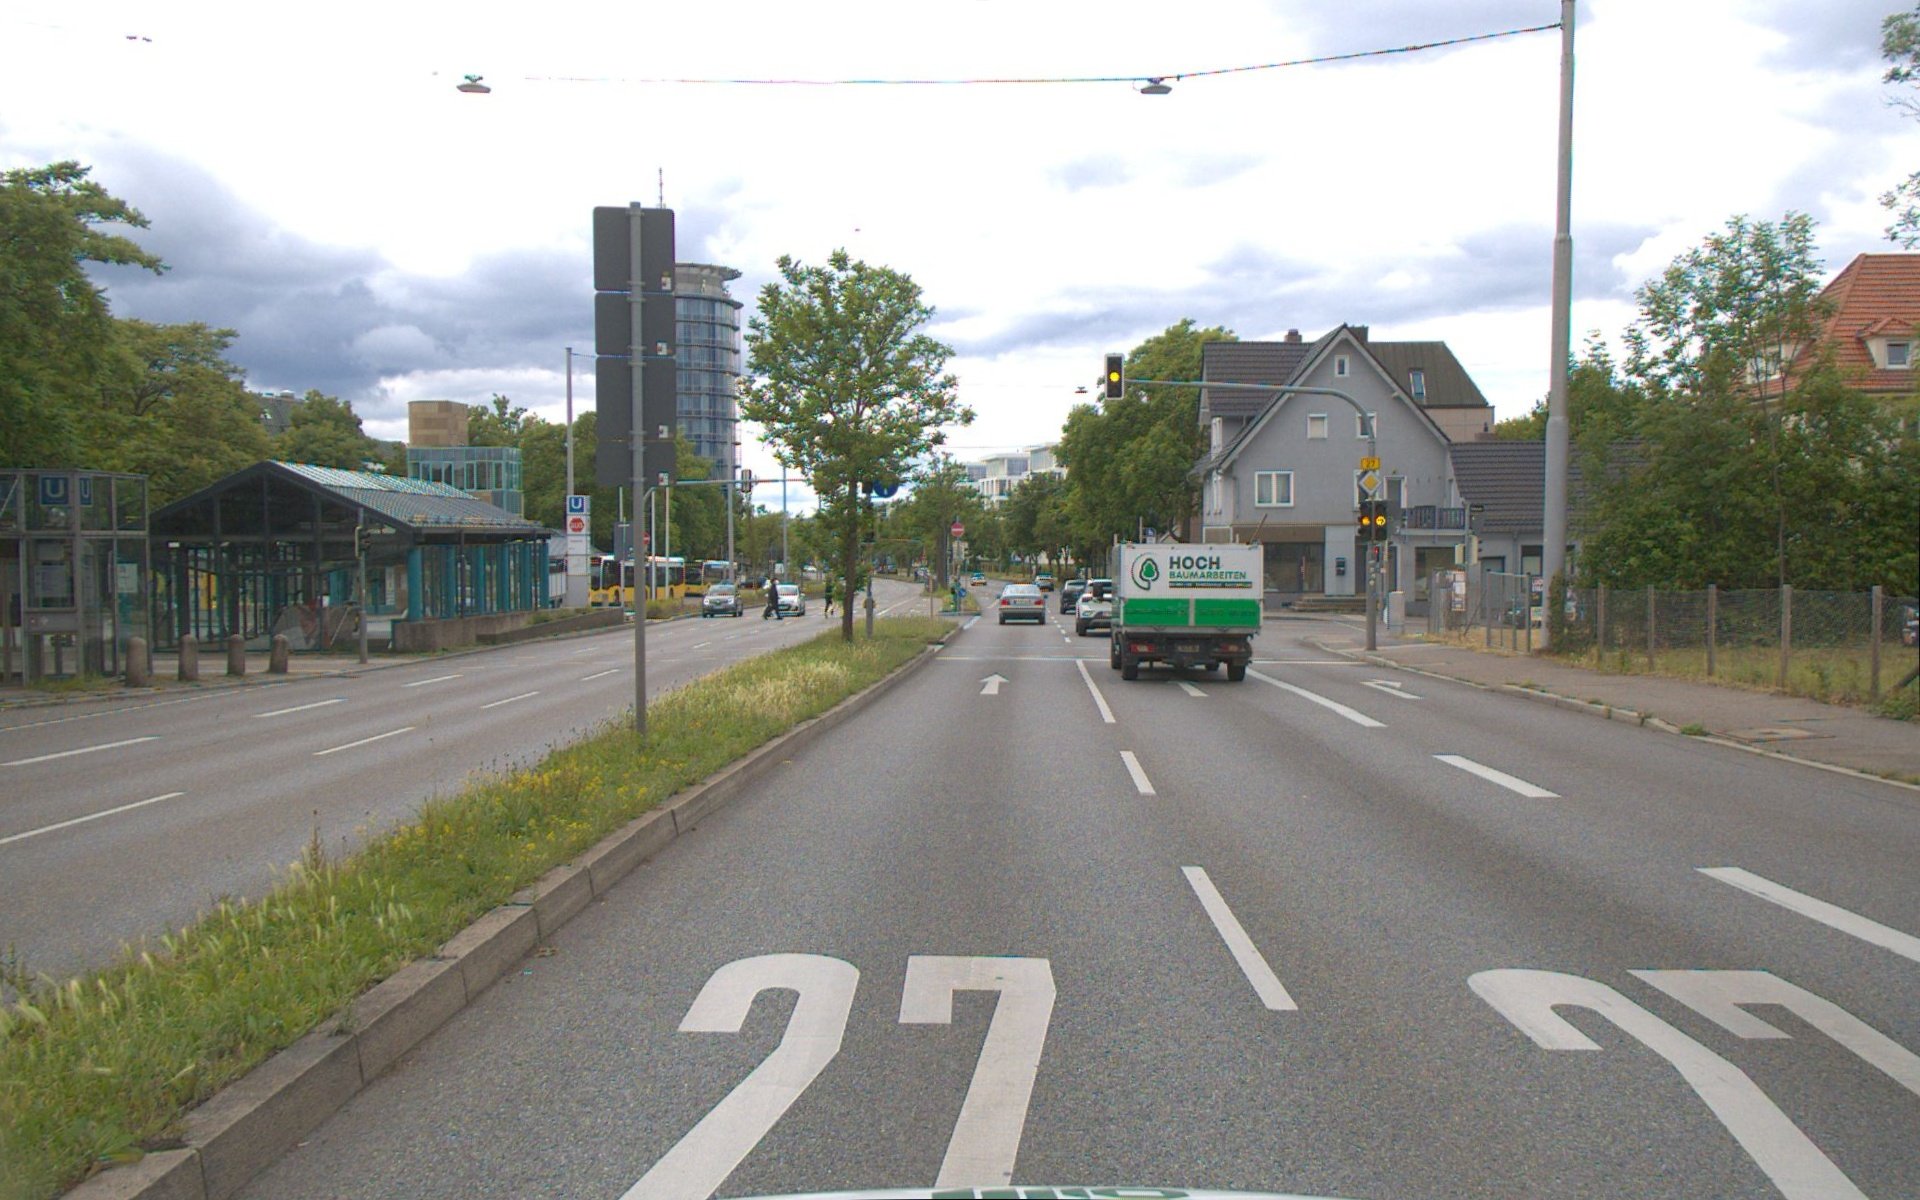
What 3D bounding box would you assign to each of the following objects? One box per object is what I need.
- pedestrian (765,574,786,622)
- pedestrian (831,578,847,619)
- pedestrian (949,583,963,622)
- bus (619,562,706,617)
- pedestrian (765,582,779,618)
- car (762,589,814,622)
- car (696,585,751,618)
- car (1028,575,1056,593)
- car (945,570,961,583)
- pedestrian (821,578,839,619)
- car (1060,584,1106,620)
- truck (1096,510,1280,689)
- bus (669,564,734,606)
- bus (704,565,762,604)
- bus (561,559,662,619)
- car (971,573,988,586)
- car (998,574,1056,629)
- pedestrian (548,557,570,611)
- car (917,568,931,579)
[{"bbox_3d":[-7.887,-0.097,70.769,0.813,2.049,0.545,-1,0,-4],"label":"pedestrian"},{"bbox_3d":[-5.177,-0.072,70.794,0.640,1.746,0.452,-1,0,-4],"label":"pedestrian"},{"bbox_3d":[-0.180,0.118,74.016,0.572,1.746,0.545,-1,0,-4],"label":"pedestrian"},{"bbox_3d":[-20.075,-0.718,112.317,2.771,3.490,10.741,-1,0,7],"label":"bus"},{"bbox_3d":[-8.144,0.000,71.554,0.532,1.522,0.486,-1,0,-2],"label":"pedestrian"},{"bbox_3d":[-8.292,0.258,79.940,1.952,1.512,4.001,-1,0,1],"label":"car"},{"bbox_3d":[-11.480,0.075,80.513,1.952,1.512,4.001,-1,0,1],"label":"car"},{"bbox_3d":[7.460,-1.491,151.107,1.955,1.579,3.995,-1,0,-6],"label":"car"},{"bbox_3d":[-0.887,-2.908,205.058,1.953,1.545,3.999,-1,1,-1],"label":"car"},{"bbox_3d":[-5.595,-0.075,71.377,0.731,1.746,0.582,-1,0,-4],"label":"pedestrian"},{"bbox_3d":[5.489,0.071,74.225,1.952,1.579,4.001,1,0,2],"label":"car"},{"bbox_3d":[3.679,-0.098,28.033,2.419,2.657,6.550,1,1,2],"label":"truck"},{"bbox_3d":[-22.403,-1.267,144.205,2.771,3.490,10.741,-1,0,7],"label":"bus"},{"bbox_3d":[-21.158,-1.428,154.900,2.771,3.490,10.741,-1,0,7],"label":"bus"},{"bbox_3d":[-21.428,-0.665,102.318,2.771,3.490,10.741,-1,0,7],"label":"bus"},{"bbox_3d":[2.304,-2.450,198.413,1.953,1.545,3.999,-1,1,-1],"label":"car"},{"bbox_3d":[2.349,0.028,57.968,1.952,1.862,4.001,1,0,2],"label":"car"},{"bbox_3d":[-15.455,-0.620,63.785,0.667,2.049,0.645,-1,0,-2],"label":"pedestrian"},{"bbox_3d":[-5.588,-4.139,259.085,1.954,1.545,3.997,-1,1,-4],"label":"car"}]
